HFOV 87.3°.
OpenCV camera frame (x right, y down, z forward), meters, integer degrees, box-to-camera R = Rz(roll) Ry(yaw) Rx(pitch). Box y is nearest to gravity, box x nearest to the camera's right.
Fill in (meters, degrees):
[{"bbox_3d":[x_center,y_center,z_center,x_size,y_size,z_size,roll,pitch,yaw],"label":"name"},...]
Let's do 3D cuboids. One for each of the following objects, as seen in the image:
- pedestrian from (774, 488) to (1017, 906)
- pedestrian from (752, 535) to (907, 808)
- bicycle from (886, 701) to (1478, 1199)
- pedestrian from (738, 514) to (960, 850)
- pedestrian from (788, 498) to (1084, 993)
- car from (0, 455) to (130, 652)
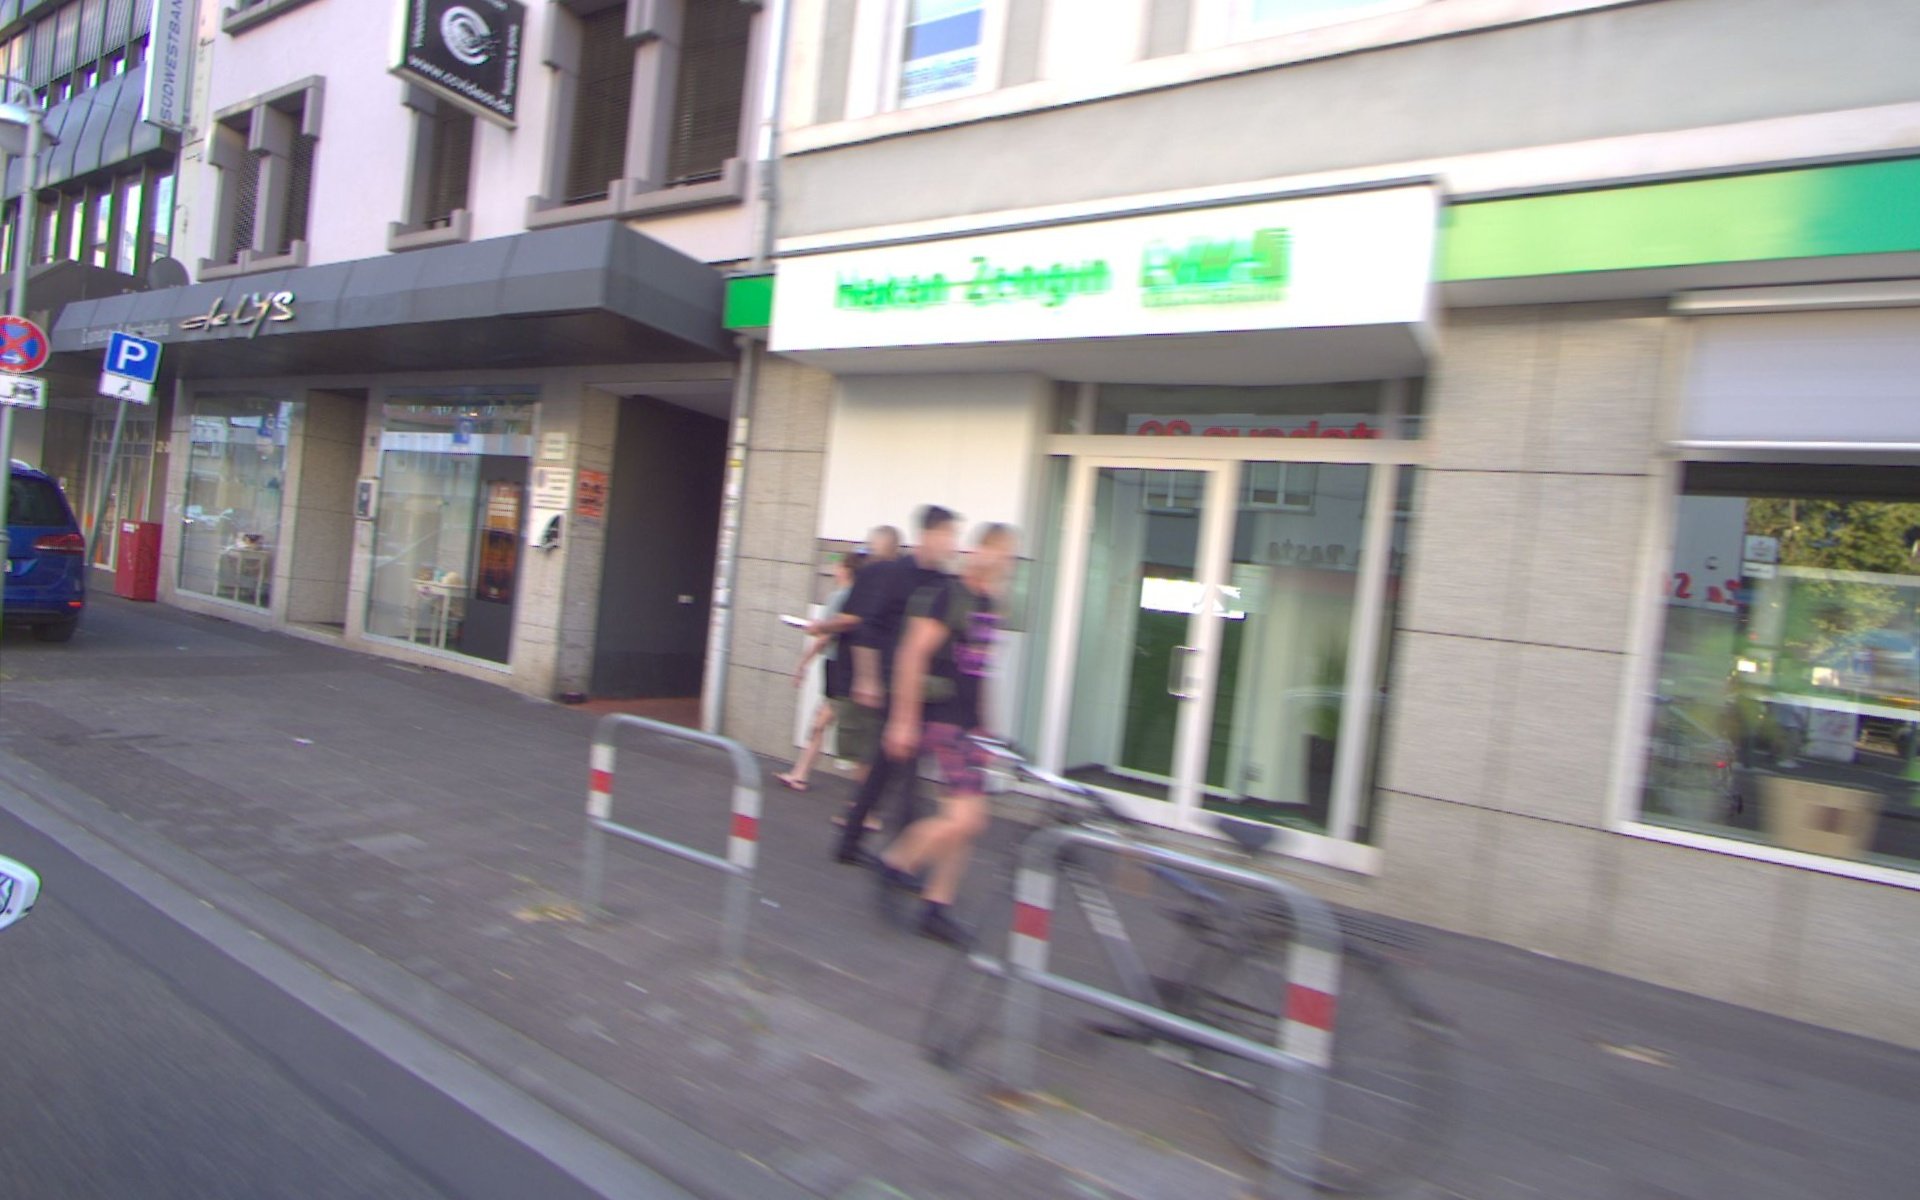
[{"bbox_3d":[-0.334,0.454,5.260,0.864,1.953,0.661,7,2,31],"label":"pedestrian"},{"bbox_3d":[-0.899,0.463,6.968,0.667,1.742,0.649,7,4,33],"label":"pedestrian"},{"bbox_3d":[0.594,0.988,2.905,1.465,1.162,0.534,7,2,31],"label":"bicycle"},{"bbox_3d":[-0.676,0.455,6.143,0.913,1.830,0.766,7,3,34],"label":"pedestrian"},{"bbox_3d":[-0.094,0.553,4.341,0.836,1.853,0.738,7,2,31],"label":"pedestrian"},{"bbox_3d":[-10.434,-0.633,10.050,4.501,1.750,1.993,7,2,33],"label":"car"}]
